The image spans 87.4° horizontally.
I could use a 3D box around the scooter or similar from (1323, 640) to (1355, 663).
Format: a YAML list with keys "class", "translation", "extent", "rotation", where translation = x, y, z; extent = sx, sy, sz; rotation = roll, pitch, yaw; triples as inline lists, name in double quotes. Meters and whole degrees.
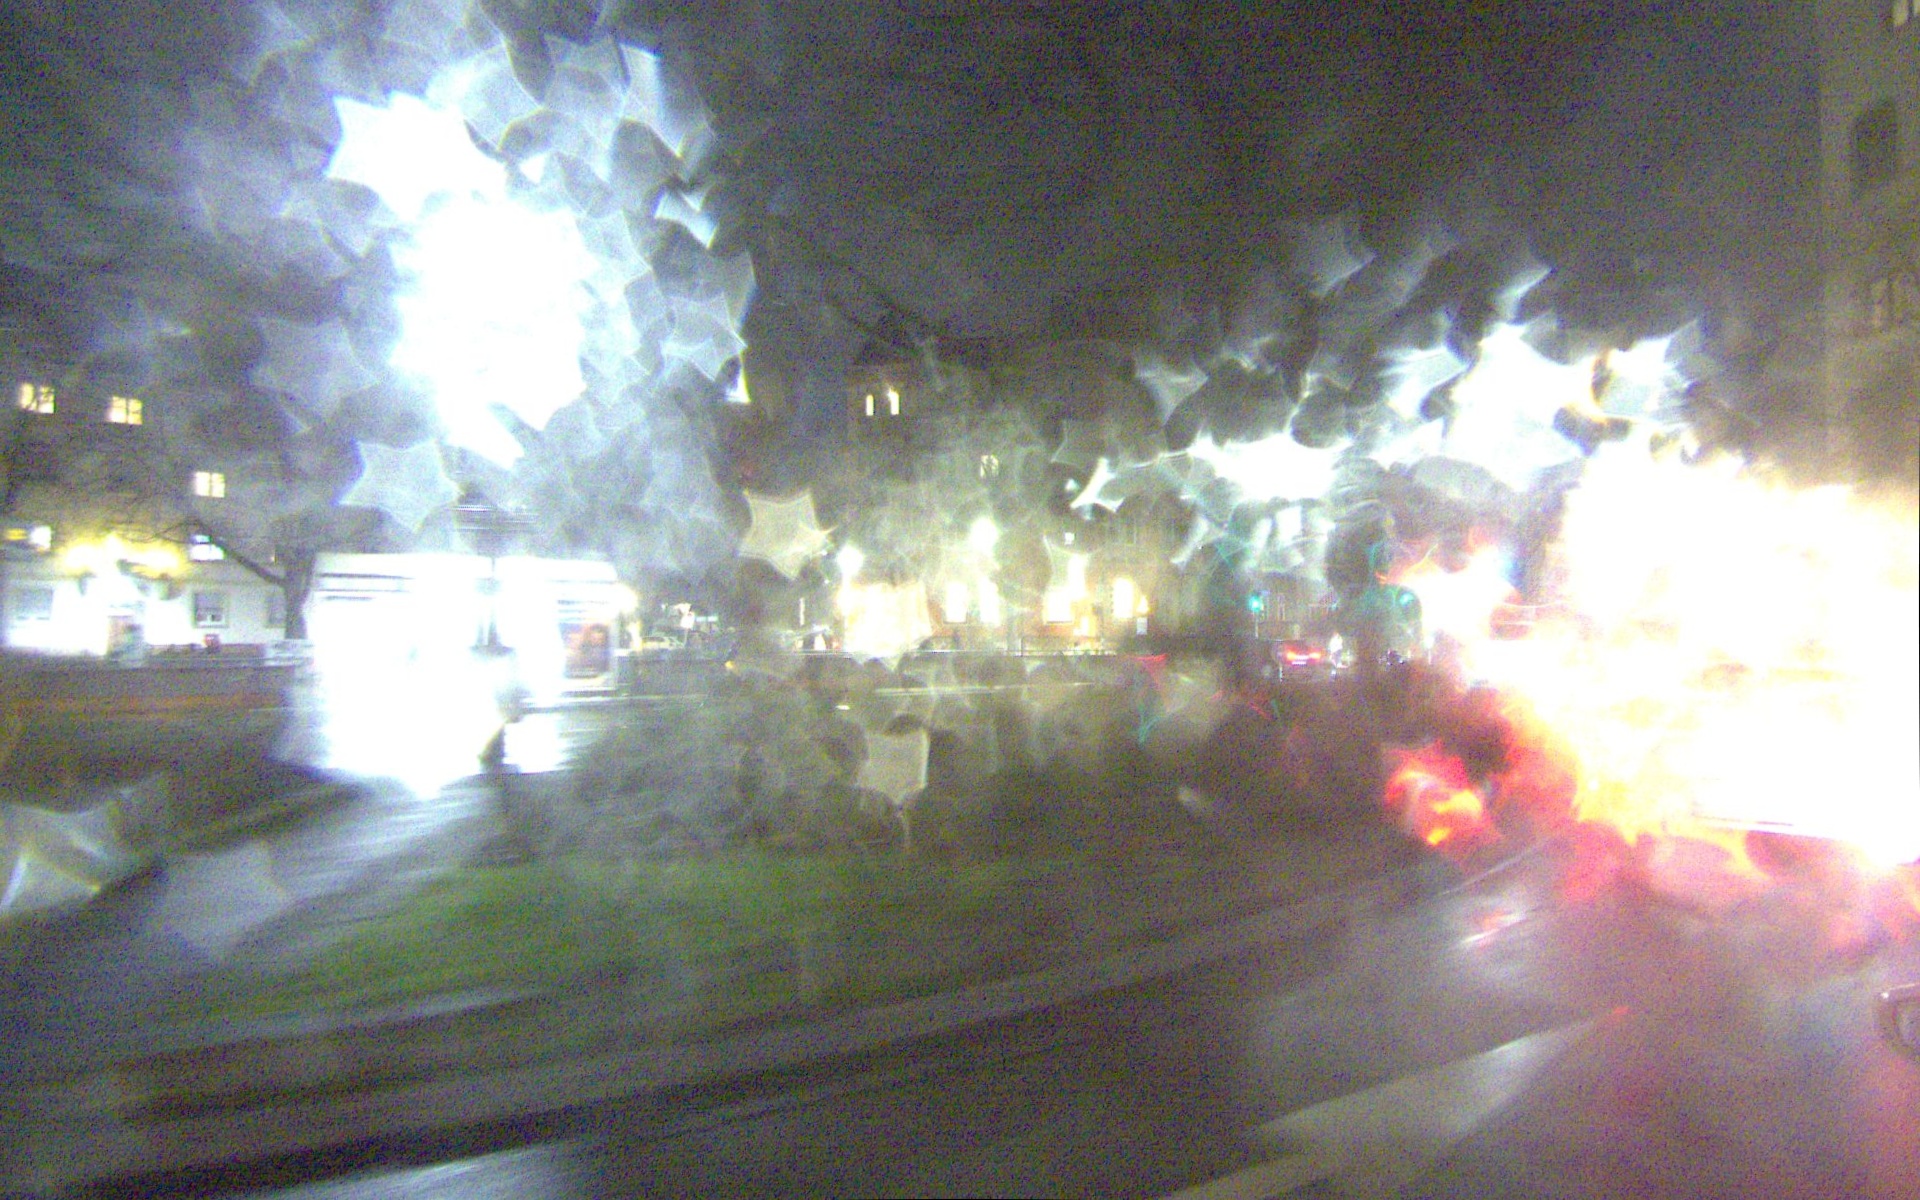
- class: "scooter or similar"
  translation: [18.596, 2.535, 49.333]
  extent: [1.348, 1.066, 0.639]
  rotation: [2, 0, -19]

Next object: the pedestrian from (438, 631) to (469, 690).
- class: "pedestrian"
  translation: [-13.710, 1.624, 27.187]
  extent: [0.473, 1.548, 0.583]
  rotation: [2, 0, 43]

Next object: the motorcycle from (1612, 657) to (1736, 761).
- class: "motorcycle"
  translation: [9.688, 1.424, 13.731]
  extent: [0.776, 1.228, 2.251]
  rotation: [1, -2, 19]

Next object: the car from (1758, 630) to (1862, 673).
- class: "car"
  translation: [31.790, 1.918, 37.556]
  extent: [4.008, 1.460, 1.638]
  rotation: [1, -6, -31]

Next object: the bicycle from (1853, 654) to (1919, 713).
- class: "bicycle"
  translation: [17.281, 1.483, 17.884]
  extent: [1.936, 1.019, 0.642]
  rotation: [-1, -2, 18]

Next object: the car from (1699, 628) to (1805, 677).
- class: "car"
  translation: [27.517, 1.816, 34.903]
  extent: [3.539, 1.544, 1.640]
  rotation: [1, -6, -31]

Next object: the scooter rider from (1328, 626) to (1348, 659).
- class: "scooter rider"
  translation: [18.562, 2.099, 49.315]
  extent: [0.642, 1.594, 0.639]
  rotation: [2, 0, -18]

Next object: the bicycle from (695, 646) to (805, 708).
- class: "bicycle"
  translation: [-3.535, 1.291, 16.922]
  extent: [1.752, 0.982, 0.570]
  rotation: [2, 0, -18]

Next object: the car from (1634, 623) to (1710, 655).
- class: "car"
  translation: [45.291, 2.453, 63.881]
  extent: [5.246, 1.850, 1.984]
  rotation: [0, 1, -30]

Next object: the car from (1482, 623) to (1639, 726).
- class: "car"
  translation: [11.646, 1.382, 19.736]
  extent: [1.719, 1.762, 3.801]
  rotation: [1, -2, 16]

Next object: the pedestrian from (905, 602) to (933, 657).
- class: "pedestrian"
  translation: [-1.370, 0.976, 33.604]
  extent: [0.662, 1.798, 0.712]
  rotation: [2, 0, -27]

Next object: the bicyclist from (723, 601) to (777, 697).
- class: "bicyclist"
  translation: [-3.537, 0.817, 16.922]
  extent: [0.803, 1.568, 0.570]
  rotation: [1, 0, -18]

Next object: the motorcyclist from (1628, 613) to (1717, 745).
- class: "motorcyclist"
  translation: [9.662, 1.047, 13.650]
  extent: [0.776, 1.717, 0.820]
  rotation: [1, -1, 19]

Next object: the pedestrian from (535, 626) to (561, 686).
- class: "pedestrian"
  translation: [-11.624, 1.565, 28.374]
  extent: [0.392, 1.651, 0.533]
  rotation: [2, 0, 18]

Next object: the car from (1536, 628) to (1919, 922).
- class: "car"
  translation: [5.833, 0.994, 7.211]
  extent: [3.570, 1.536, 1.902]
  rotation: [1, -2, -42]

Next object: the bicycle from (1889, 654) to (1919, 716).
- class: "bicycle"
  translation: [17.156, 1.439, 17.041]
  extent: [1.936, 1.048, 0.642]
  rotation: [-1, -2, 18]

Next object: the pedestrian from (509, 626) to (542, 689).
- class: "pedestrian"
  translation: [-12.002, 1.577, 27.769]
  extent: [0.573, 1.674, 0.560]
  rotation: [2, 0, 18]

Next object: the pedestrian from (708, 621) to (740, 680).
- class: "pedestrian"
  translation: [-7.288, 1.557, 31.071]
  extent: [0.711, 1.798, 0.663]
  rotation: [2, 0, -39]

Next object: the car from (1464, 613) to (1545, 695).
- class: "car"
  translation: [18.032, 1.682, 33.122]
  extent: [2.185, 2.474, 5.373]
  rotation: [0, -1, 30]
